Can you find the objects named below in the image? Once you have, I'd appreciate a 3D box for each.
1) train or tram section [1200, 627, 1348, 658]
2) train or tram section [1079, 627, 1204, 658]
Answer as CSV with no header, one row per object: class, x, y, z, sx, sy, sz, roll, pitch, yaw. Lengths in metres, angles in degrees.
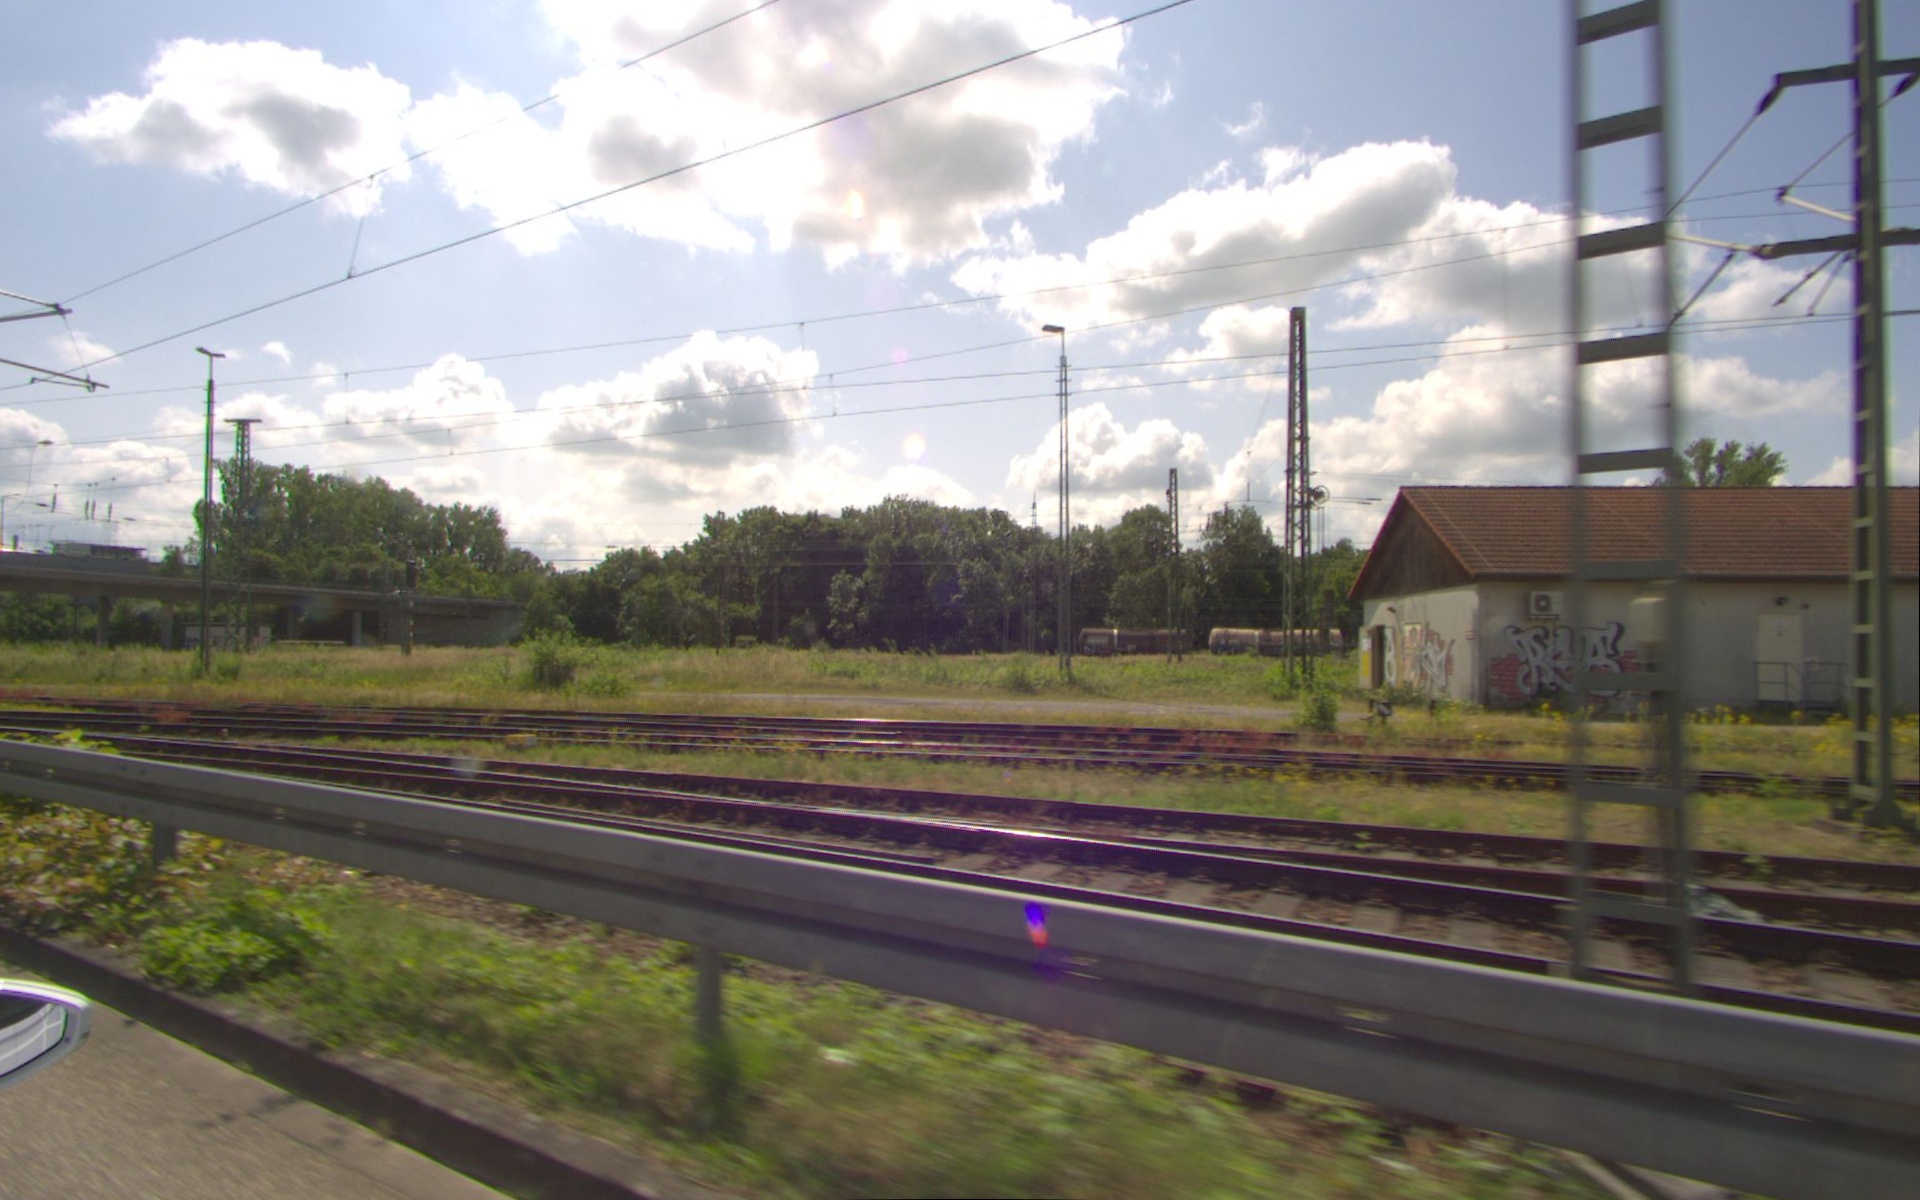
train or tram section,34.894,4.777,111.878,15.452,3.346,3.036,0,-2,4
train or tram section,20.369,4.802,113.000,13.668,3.346,3.036,0,-2,4
